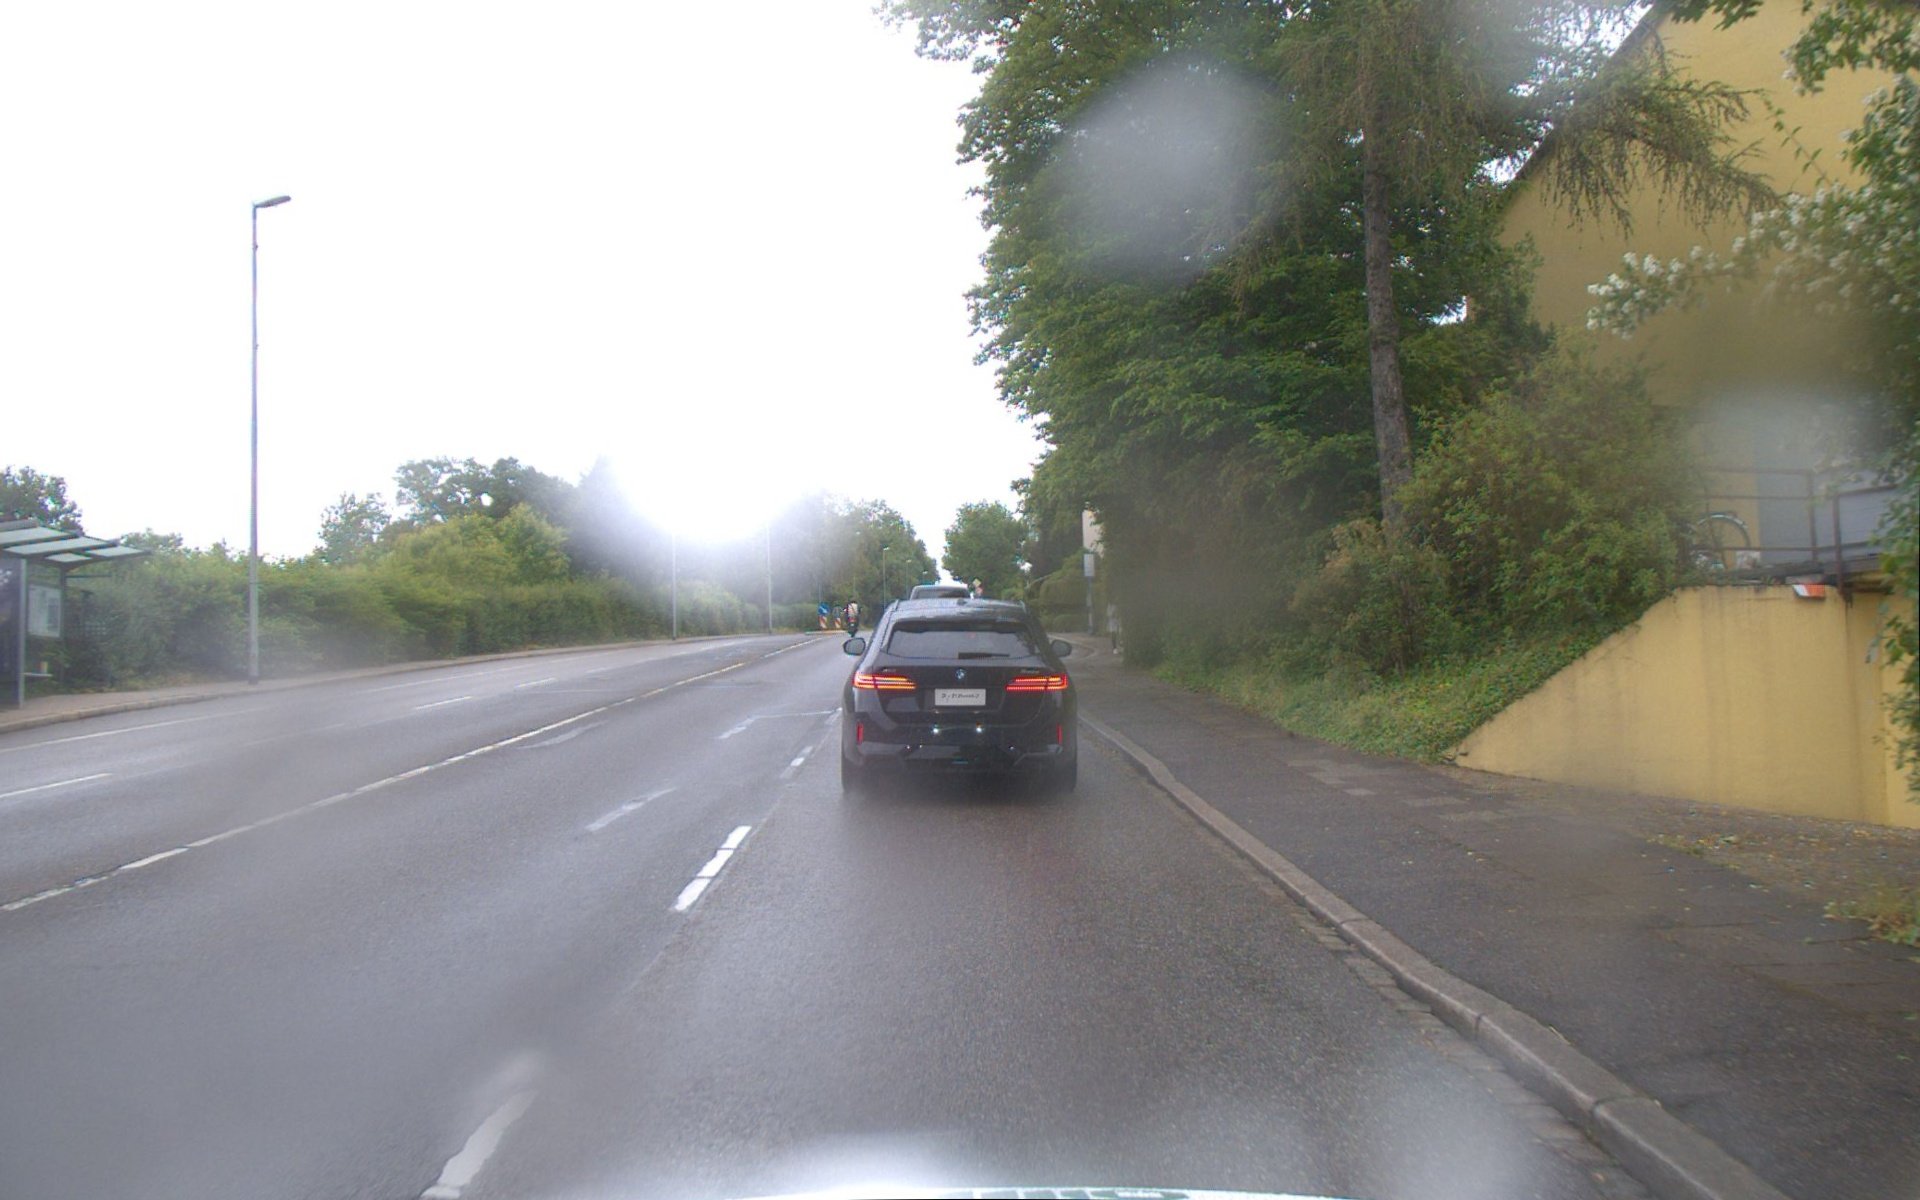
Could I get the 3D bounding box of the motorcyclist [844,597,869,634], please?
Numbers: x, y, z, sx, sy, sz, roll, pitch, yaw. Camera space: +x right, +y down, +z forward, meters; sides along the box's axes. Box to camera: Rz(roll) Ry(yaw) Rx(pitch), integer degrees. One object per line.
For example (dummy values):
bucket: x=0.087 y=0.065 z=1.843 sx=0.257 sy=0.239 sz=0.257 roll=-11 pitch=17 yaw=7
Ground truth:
motorcyclist: x=-4.476 y=0.672 z=71.388 sx=1.018 sy=1.595 sz=0.855 roll=1 pitch=-1 yaw=-1

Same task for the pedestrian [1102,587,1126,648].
pedestrian: x=4.163 y=0.477 z=44.591 sx=0.597 sy=1.621 sz=0.646 roll=-1 pitch=0 yaw=7

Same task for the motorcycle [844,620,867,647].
motorcycle: x=-4.501 y=1.434 z=71.355 sx=0.858 sy=1.144 sz=2.740 roll=1 pitch=-1 yaw=-1

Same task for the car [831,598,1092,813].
car: x=0.020 y=0.780 z=13.933 sx=1.858 sy=1.515 sz=4.000 roll=1 pitch=-1 yaw=0

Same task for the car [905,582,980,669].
car: x=-0.413 y=0.561 z=38.393 sx=1.596 sy=1.865 sz=3.999 roll=-2 pitch=0 yaw=-1

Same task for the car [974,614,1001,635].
car: x=2.010 y=1.782 z=120.821 sx=1.895 sy=1.467 sz=4.408 roll=-1 pitch=-1 yaw=2
